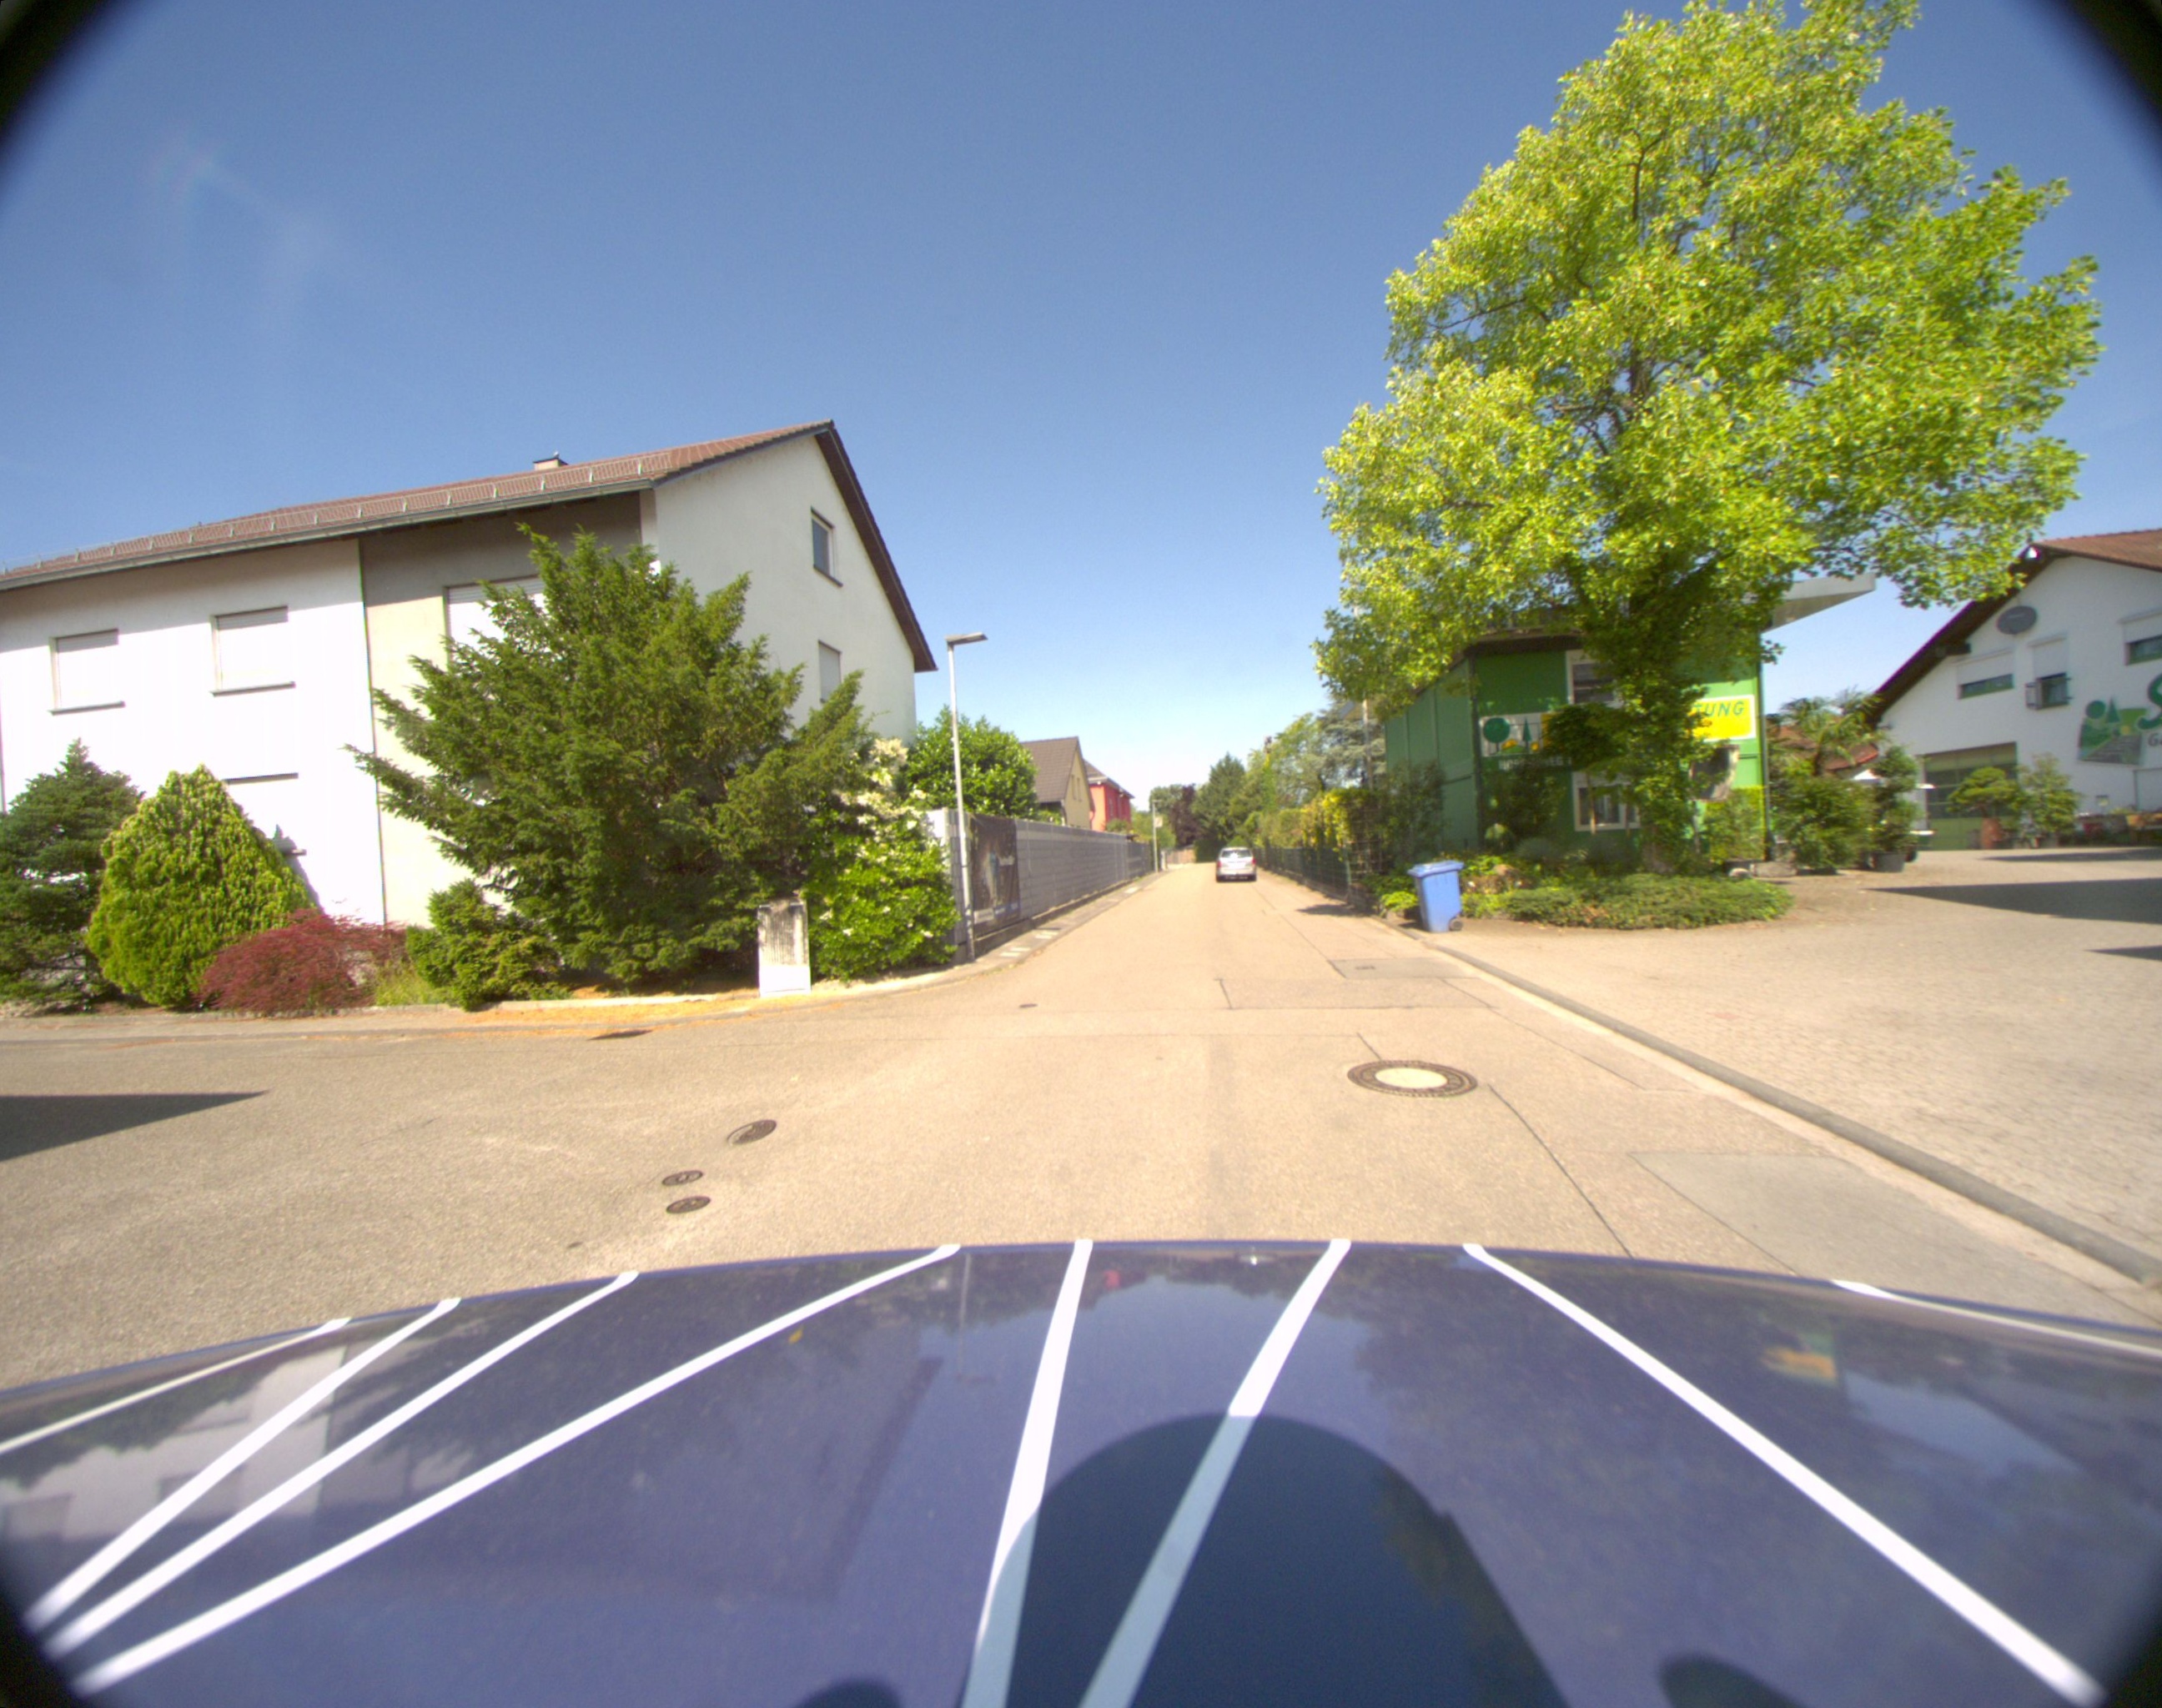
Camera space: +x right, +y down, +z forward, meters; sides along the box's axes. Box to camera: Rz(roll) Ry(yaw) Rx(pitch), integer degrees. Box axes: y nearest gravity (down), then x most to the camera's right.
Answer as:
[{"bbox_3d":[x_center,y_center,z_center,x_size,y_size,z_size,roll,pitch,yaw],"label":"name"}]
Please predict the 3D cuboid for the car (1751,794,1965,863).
[{"bbox_3d":[19.950,-0.656,19.790,1.860,1.439,4.002,-5,1,10],"label":"car"}]

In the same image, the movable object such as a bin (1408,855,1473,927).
[{"bbox_3d":[5.669,0.568,12.011,0.732,1.048,0.612,-5,0,10],"label":"movable object such as a bin"}]

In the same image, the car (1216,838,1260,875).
[{"bbox_3d":[6.931,0.085,33.937,1.756,1.478,4.378,-2,0,10],"label":"car"}]
